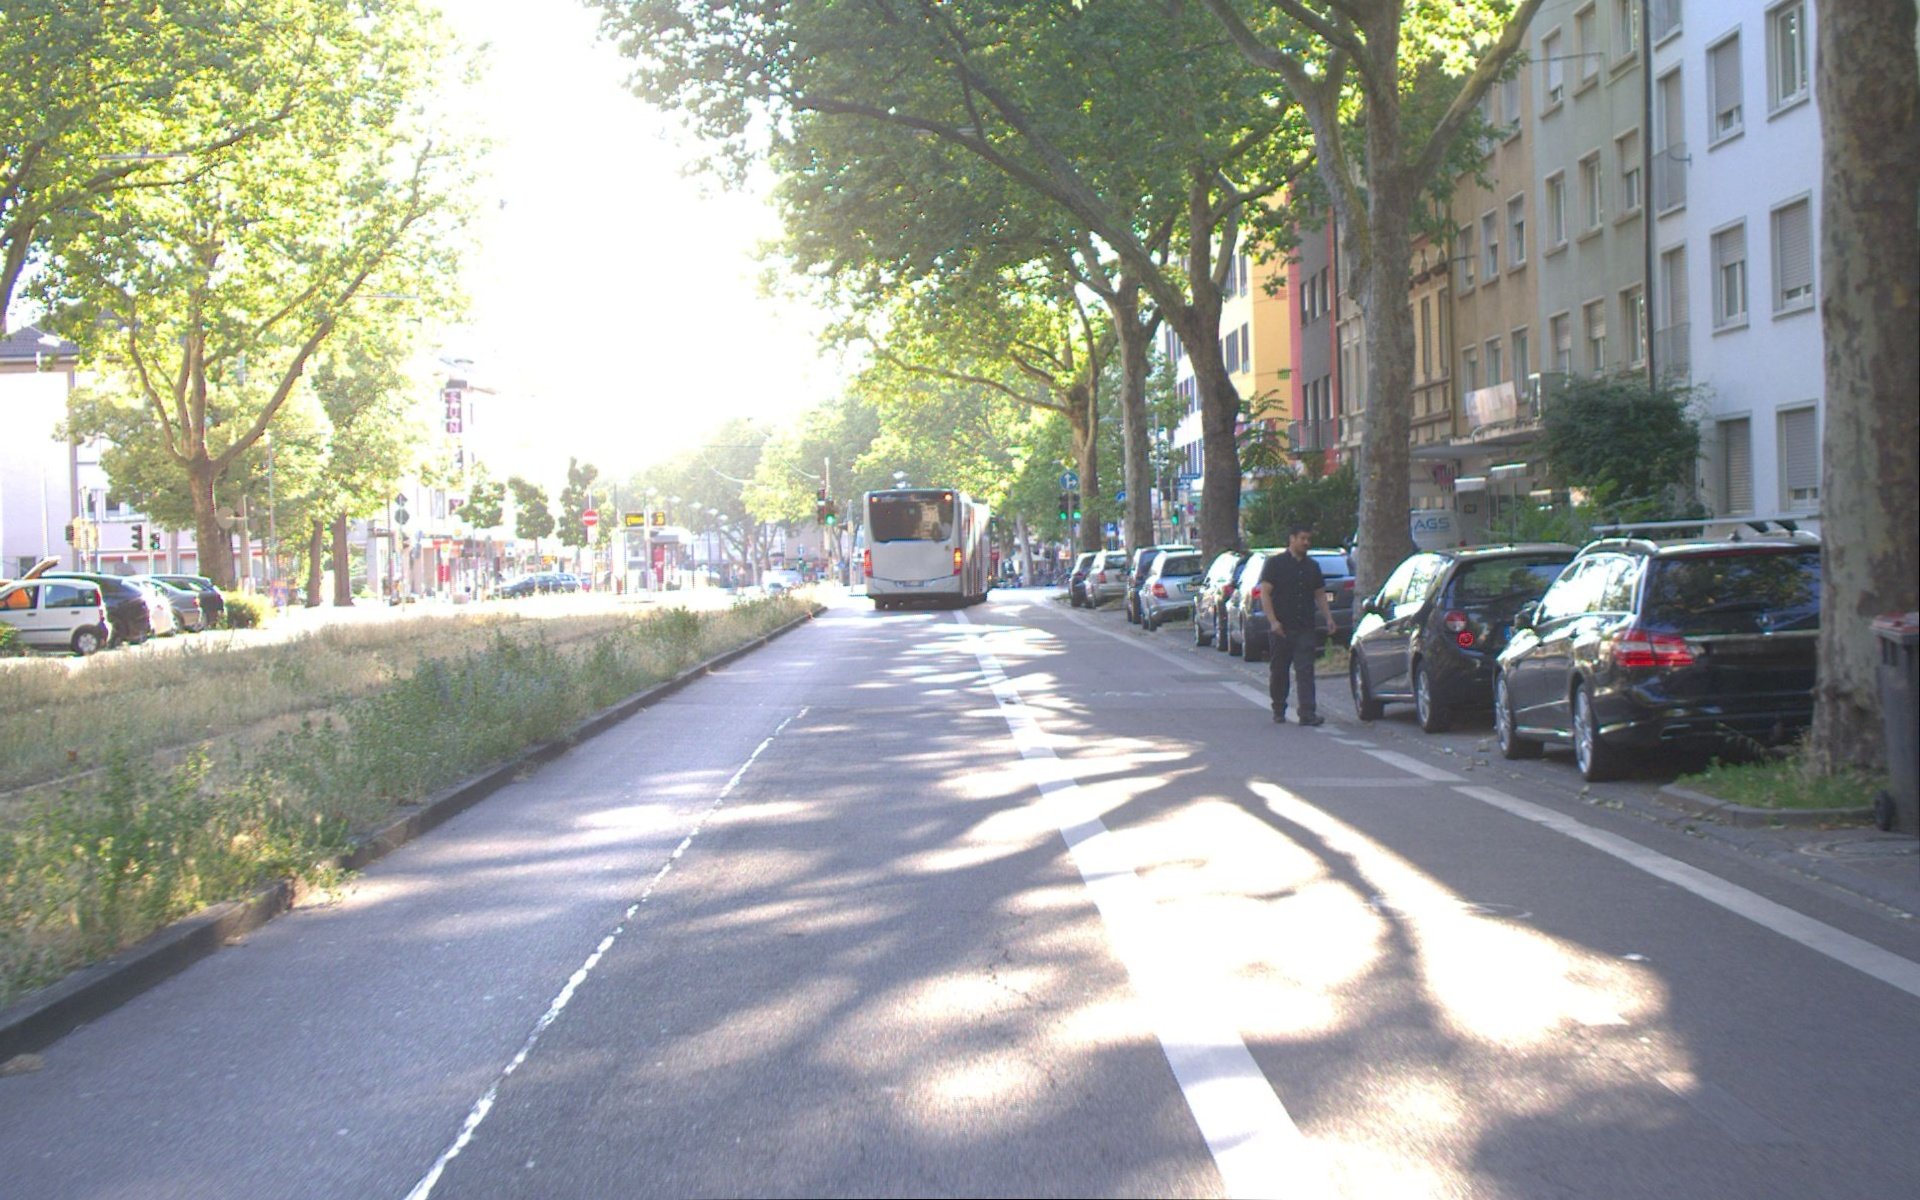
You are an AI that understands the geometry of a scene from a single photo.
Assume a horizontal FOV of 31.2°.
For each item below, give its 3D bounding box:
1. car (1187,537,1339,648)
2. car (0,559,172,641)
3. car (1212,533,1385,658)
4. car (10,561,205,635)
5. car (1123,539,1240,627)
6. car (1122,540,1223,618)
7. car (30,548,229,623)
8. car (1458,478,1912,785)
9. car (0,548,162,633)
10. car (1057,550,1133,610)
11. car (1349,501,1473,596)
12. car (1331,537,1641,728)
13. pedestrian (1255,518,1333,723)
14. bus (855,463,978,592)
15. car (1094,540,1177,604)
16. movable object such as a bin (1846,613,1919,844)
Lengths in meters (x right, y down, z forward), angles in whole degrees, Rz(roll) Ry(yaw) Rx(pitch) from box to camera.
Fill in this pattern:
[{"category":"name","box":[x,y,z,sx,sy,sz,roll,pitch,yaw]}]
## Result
[{"category":"car","box":[4.396,-0.143,50.355,1.781,1.510,4.000,-2,1,-1]},{"category":"car","box":[-20.098,0.002,77.196,4.300,1.732,1.857,-2,0,-41]},{"category":"car","box":[4.420,-0.091,45.367,1.781,1.510,4.000,-2,1,-1]},{"category":"car","box":[-21.265,-0.062,85.817,4.300,1.732,1.857,-2,0,-41]},{"category":"car","box":[4.039,-0.340,63.221,1.781,1.510,4.000,-2,1,-1]},{"category":"car","box":[4.413,-0.462,71.868,1.781,1.510,4.000,-2,1,-1]},{"category":"car","box":[-20.200,-0.363,83.737,4.300,1.732,1.857,-2,0,-41]},{"category":"car","box":[4.627,0.179,22.725,1.744,1.764,4.989,-1,0,-2]},{"category":"car","box":[-19.478,-0.205,73.464,4.300,1.732,1.857,-2,0,-41]},{"category":"car","box":[3.604,-0.553,92.237,1.781,1.510,4.000,-2,1,-1]},{"category":"car","box":[9.229,-1.030,70.706,1.883,1.853,4.326,-1,0,-1]},{"category":"car","box":[4.414,0.254,29.441,1.685,1.481,4.001,-1,0,-5]},{"category":"pedestrian","box":[2.930,0.173,30.202,0.576,1.773,0.514,-2,1,-1]},{"category":"bus","box":[-1.246,-1.855,91.859,2.833,3.224,8.183,-1,0,-3]},{"category":"car","box":[4.359,-0.709,85.946,1.781,1.510,4.000,-2,1,-1]},{"category":"movable object such as a bin","box":[4.763,0.606,16.668,0.673,1.042,0.880,-2,2,-1]}]
